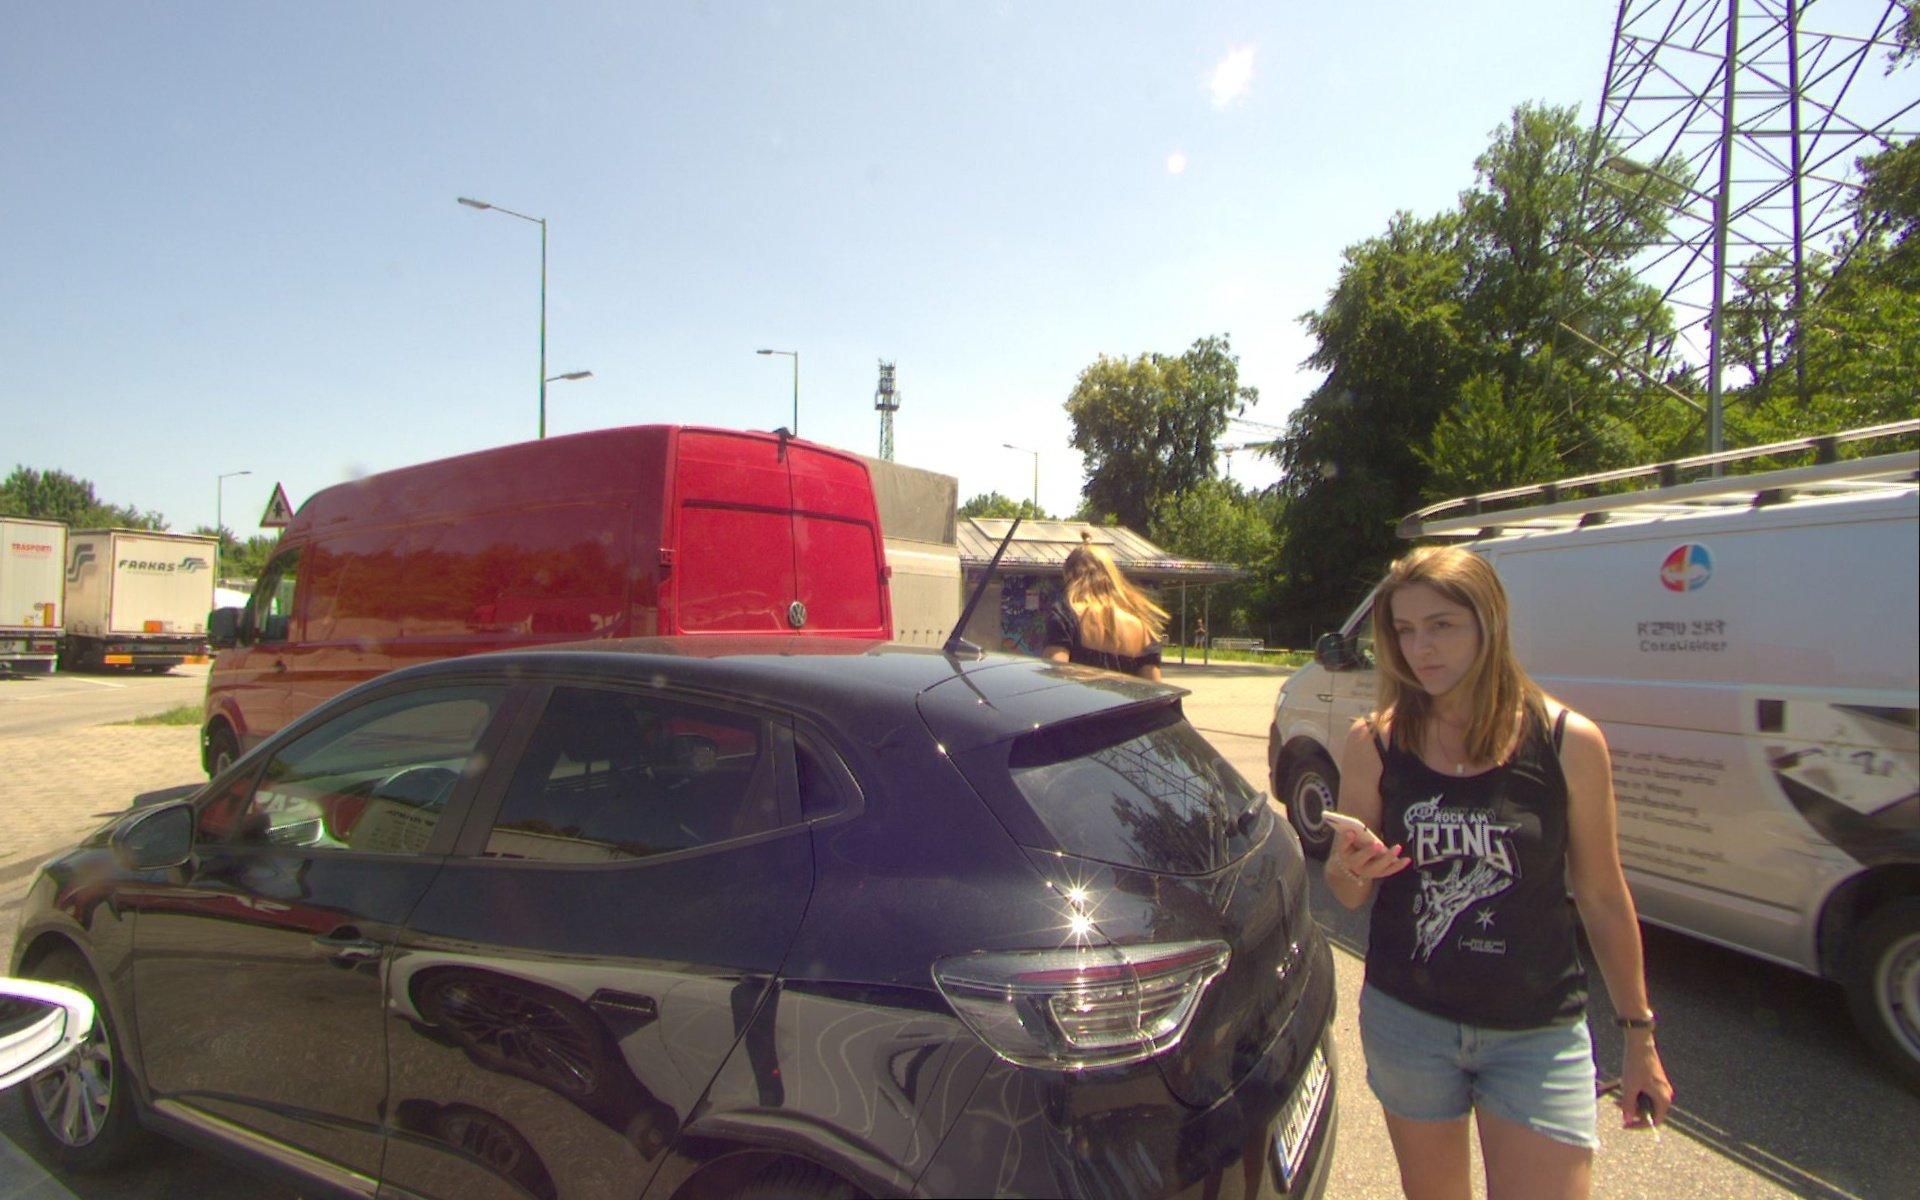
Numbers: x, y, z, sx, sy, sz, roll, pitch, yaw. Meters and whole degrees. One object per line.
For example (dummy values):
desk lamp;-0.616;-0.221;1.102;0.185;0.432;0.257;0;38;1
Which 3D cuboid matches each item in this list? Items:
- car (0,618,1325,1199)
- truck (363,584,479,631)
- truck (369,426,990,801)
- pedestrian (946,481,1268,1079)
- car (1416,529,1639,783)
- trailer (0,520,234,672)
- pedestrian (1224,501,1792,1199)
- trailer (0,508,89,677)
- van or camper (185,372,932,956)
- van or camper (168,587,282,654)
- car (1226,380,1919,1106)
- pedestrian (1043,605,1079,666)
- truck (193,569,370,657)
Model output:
car;-1.037;0.831;2.816;3.706;1.503;1.615;0;-1;27
truck;-34.689;0.466;64.255;9.637;2.857;2.121;0;-1;33
truck;-3.237;0.130;10.530;6.874;2.828;2.460;0;-1;35
pedestrian;0.510;0.587;3.695;0.901;1.896;0.772;1;0;-19
car;6.564;0.564;11.528;1.892;2.354;4.074;-1;-1;32
trailer;-27.266;-0.201;31.439;12.255;4.090;2.862;2;-1;33
pedestrian;0.815;0.694;1.605;0.644;1.606;0.646;1;0;26
trailer;-28.328;-0.330;27.774;12.255;4.090;2.862;2;-1;33
van or camper;-3.342;0.321;7.324;6.394;2.688;1.990;0;-1;36
van or camper;-30.382;0.819;41.361;5.296;2.595;2.100;0;-1;34
car;3.464;0.464;4.783;1.963;2.178;5.307;0;-1;-14
pedestrian;2.762;0.972;27.320;0.752;1.629;0.755;1;0;-13
truck;-31.662;0.506;46.452;11.255;3.615;2.484;2;-1;33
